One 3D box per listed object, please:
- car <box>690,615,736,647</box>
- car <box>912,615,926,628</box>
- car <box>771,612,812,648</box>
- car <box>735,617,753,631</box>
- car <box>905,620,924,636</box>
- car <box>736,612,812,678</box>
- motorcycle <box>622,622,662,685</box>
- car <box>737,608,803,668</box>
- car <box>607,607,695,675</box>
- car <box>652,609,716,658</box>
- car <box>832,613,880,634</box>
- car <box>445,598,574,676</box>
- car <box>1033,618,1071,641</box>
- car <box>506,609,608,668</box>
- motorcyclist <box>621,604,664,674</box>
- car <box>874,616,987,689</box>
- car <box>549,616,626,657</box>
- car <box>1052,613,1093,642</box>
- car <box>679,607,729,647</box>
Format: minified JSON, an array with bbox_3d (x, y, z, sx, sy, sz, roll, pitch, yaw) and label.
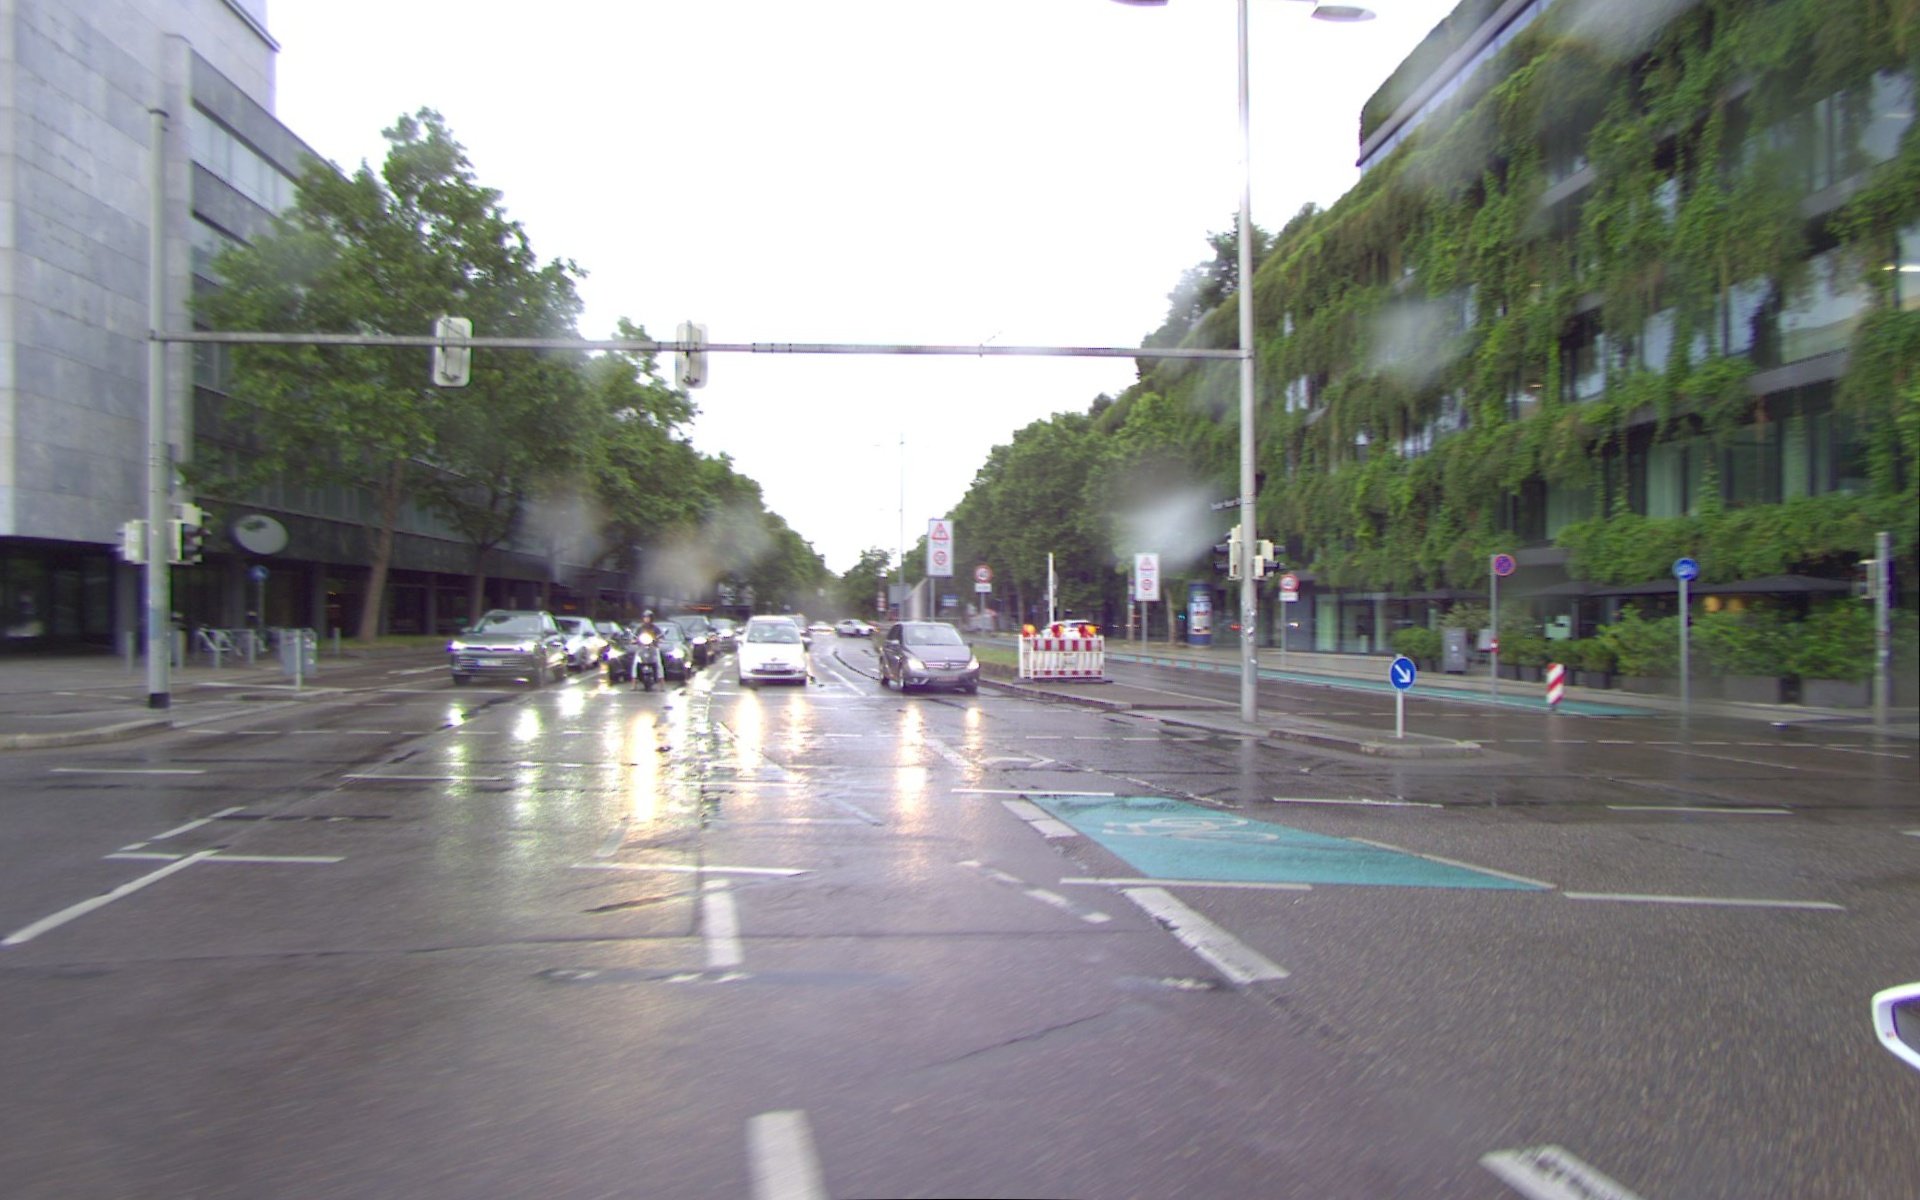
[{"bbox_3d":[-12.040,1.487,49.191,1.693,1.511,4.564,1,-1,-7],"label":"car"},{"bbox_3d":[-5.519,2.919,133.893,1.595,1.688,3.996,0,-1,-7],"label":"car"},{"bbox_3d":[-8.667,1.521,52.107,1.807,1.790,5.104,1,-1,-7],"label":"car"},{"bbox_3d":[-24.820,2.767,115.386,1.667,1.488,3.456,1,-1,-7],"label":"car"},{"bbox_3d":[-4.513,2.706,98.850,1.595,1.491,3.996,1,-1,-7],"label":"car"},{"bbox_3d":[-4.560,1.066,24.784,1.692,1.495,3.425,2,-1,-10],"label":"car"},{"bbox_3d":[-6.638,1.096,21.032,0.708,1.244,2.037,1,-1,-15],"label":"motorcycle"},{"bbox_3d":[-5.872,1.132,31.228,1.849,1.707,4.790,1,-1,-10],"label":"car"},{"bbox_3d":[-7.889,1.026,25.971,1.810,1.585,4.213,1,-1,-13],"label":"car"},{"bbox_3d":[-9.588,1.149,35.089,1.727,1.585,3.993,1,-1,-10],"label":"car"},{"bbox_3d":[-9.824,2.211,94.618,4.166,1.813,1.994,1,-1,34],"label":"car"},{"bbox_3d":[-10.485,0.849,23.707,1.732,1.639,4.652,1,-1,-11],"label":"car"},{"bbox_3d":[6.867,2.166,75.269,1.815,1.654,4.781,1,-1,-7],"label":"car"},{"bbox_3d":[-12.036,1.137,30.333,1.964,1.625,4.579,1,-1,-11],"label":"car"},{"bbox_3d":[-6.608,0.806,20.935,0.776,1.409,0.731,2,-1,-15],"label":"motorcyclist"},{"bbox_3d":[-0.795,1.161,23.590,1.818,1.501,4.153,1,-1,-14],"label":"car"},{"bbox_3d":[-13.515,1.312,36.661,1.964,1.405,3.970,1,-1,-11],"label":"car"},{"bbox_3d":[7.705,1.871,69.026,1.814,1.862,5.090,-1,-1,-5],"label":"car"},{"bbox_3d":[-10.927,1.148,43.130,1.727,1.585,3.993,1,-1,-10],"label":"car"}]
